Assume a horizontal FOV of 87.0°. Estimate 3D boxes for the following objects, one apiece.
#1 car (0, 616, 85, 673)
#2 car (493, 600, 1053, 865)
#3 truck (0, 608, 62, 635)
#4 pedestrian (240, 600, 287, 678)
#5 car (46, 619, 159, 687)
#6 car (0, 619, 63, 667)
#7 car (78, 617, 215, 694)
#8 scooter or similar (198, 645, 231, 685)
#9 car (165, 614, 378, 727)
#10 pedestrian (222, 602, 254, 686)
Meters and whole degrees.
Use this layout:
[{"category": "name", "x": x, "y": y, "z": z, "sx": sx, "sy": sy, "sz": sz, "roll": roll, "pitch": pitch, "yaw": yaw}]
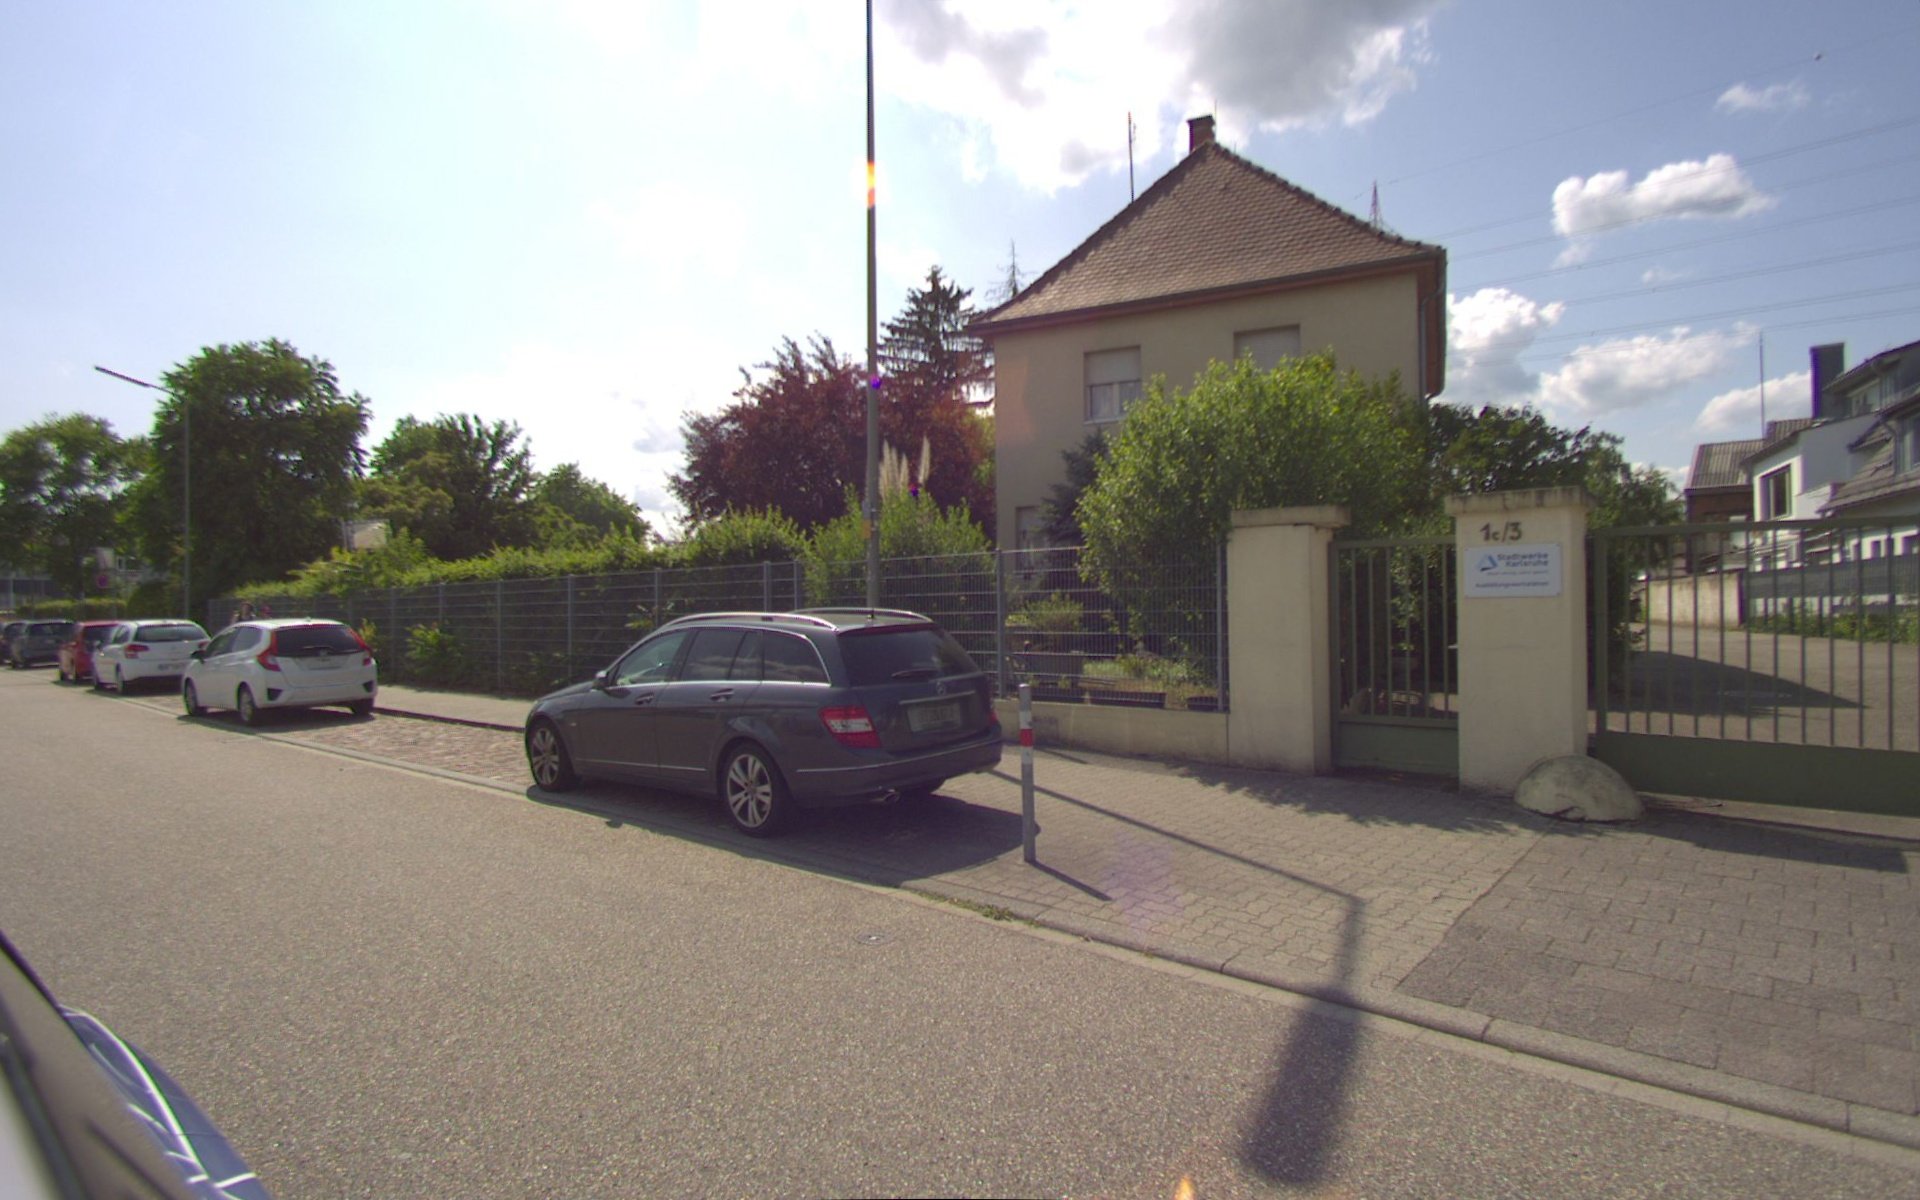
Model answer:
[{"category": "car", "x": -30.320, "y": 1.437, "z": 33.338, "sx": 3.270, "sy": 1.657, "sz": 1.634, "roll": -1, "pitch": 2, "yaw": 39}, {"category": "car", "x": -1.657, "y": 0.802, "z": 7.847, "sx": 4.493, "sy": 1.429, "sz": 1.787, "roll": -2, "pitch": 1, "yaw": 40}, {"category": "truck", "x": -96.699, "y": 2.215, "z": 103.685, "sx": 2.382, "sy": 2.678, "sz": 6.902, "roll": -1, "pitch": -1, "yaw": 14}, {"category": "pedestrian", "x": -16.498, "y": 0.904, "z": 23.972, "sx": 0.915, "sy": 1.814, "sz": 0.700, "roll": -1, "pitch": 0, "yaw": 41}, {"category": "car", "x": -21.364, "y": 1.255, "z": 25.165, "sx": 3.743, "sy": 1.478, "sz": 1.649, "roll": -1, "pitch": 1, "yaw": 42}, {"category": "car", "x": -33.850, "y": 1.506, "z": 36.380, "sx": 3.998, "sy": 1.519, "sz": 1.826, "roll": -1, "pitch": 2, "yaw": 41}, {"category": "car", "x": -17.796, "y": 1.142, "z": 22.085, "sx": 4.026, "sy": 1.488, "sz": 1.628, "roll": -1, "pitch": 0, "yaw": 41}, {"category": "scooter or similar", "x": -17.259, "y": 1.494, "z": 23.423, "sx": 0.710, "sy": 0.894, "sz": 0.466, "roll": -1, "pitch": 0, "yaw": 41}, {"category": "car", "x": -10.905, "y": 1.022, "z": 15.925, "sx": 4.170, "sy": 1.534, "sz": 1.605, "roll": -1, "pitch": -1, "yaw": 38}, {"category": "pedestrian", "x": -16.644, "y": 0.995, "z": 23.333, "sx": 0.677, "sy": 1.908, "sz": 0.446, "roll": -1, "pitch": 0, "yaw": 41}]
